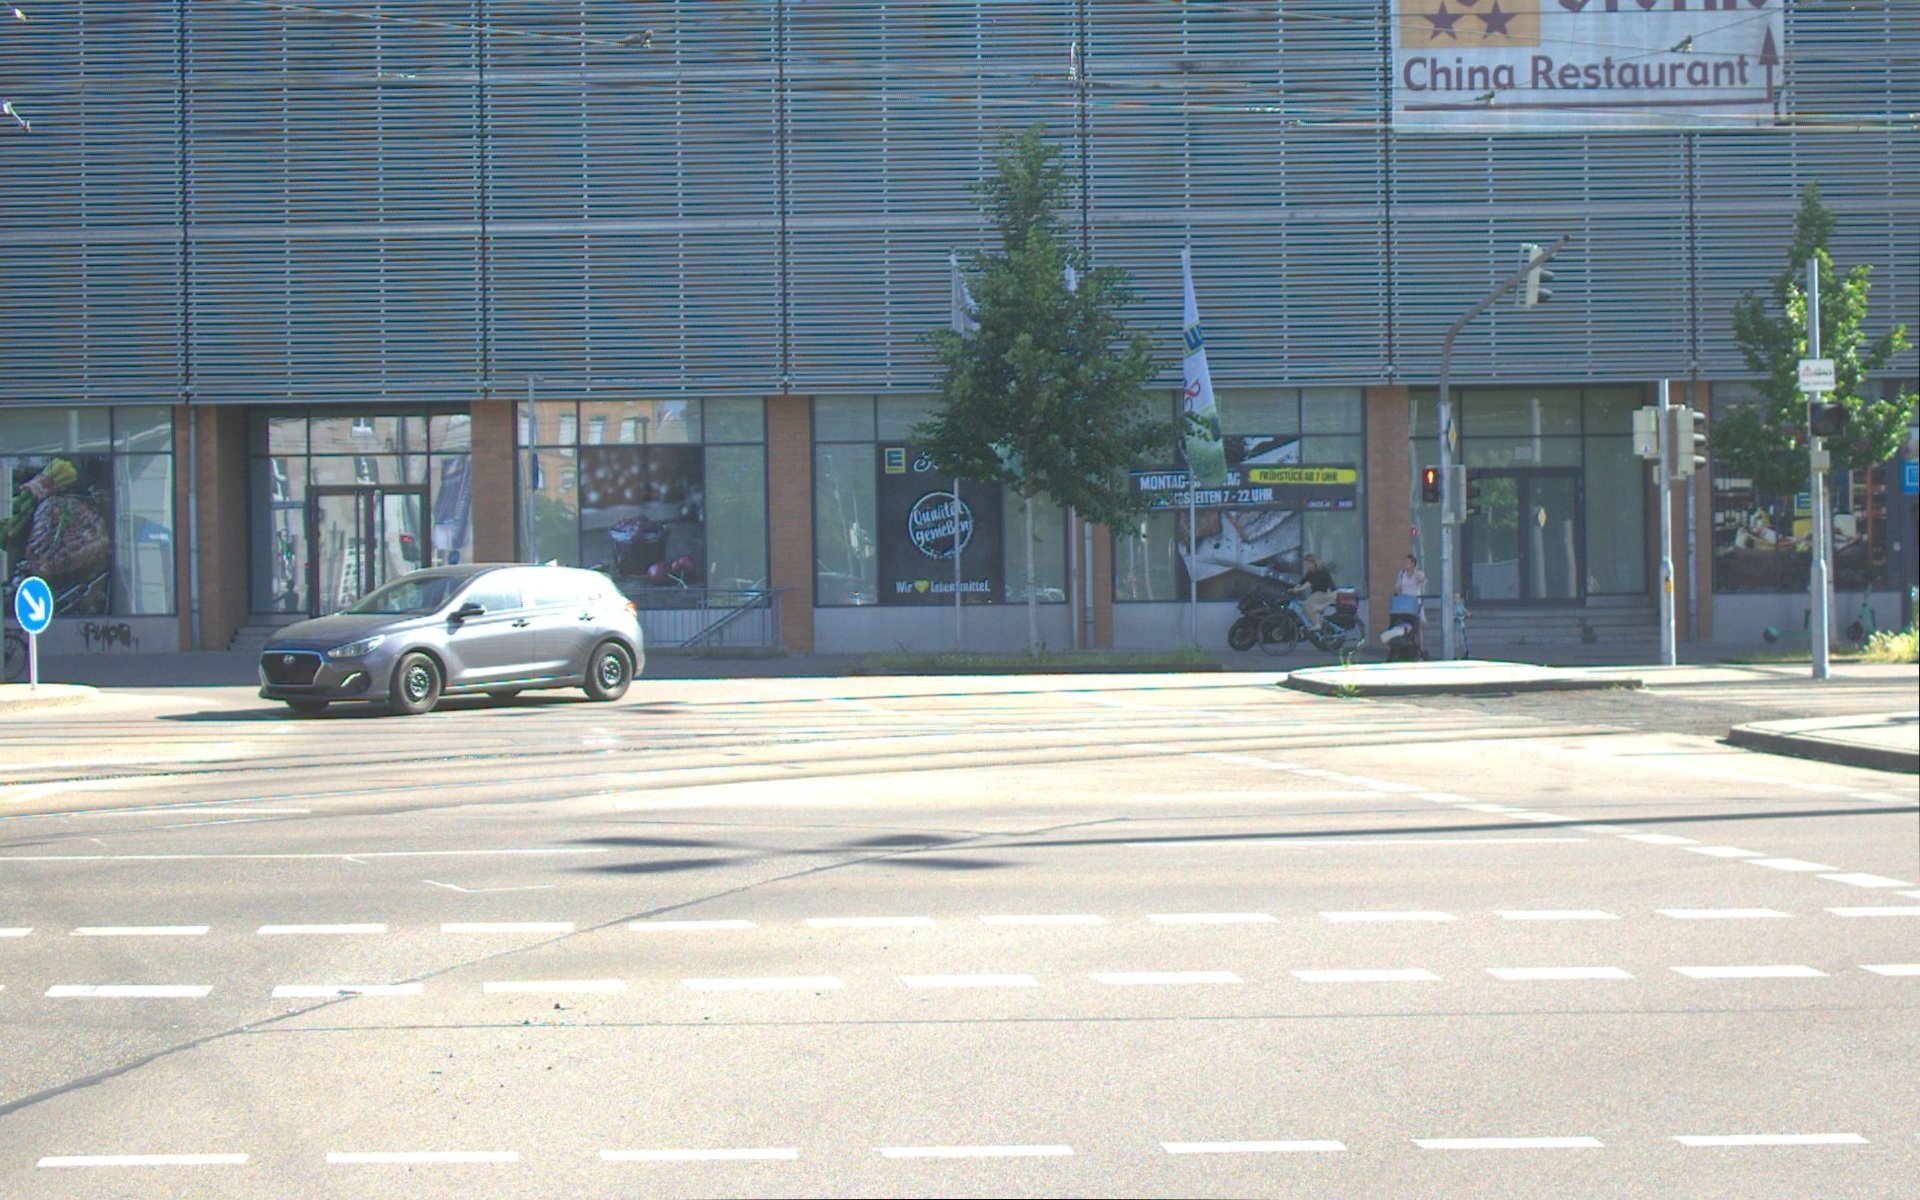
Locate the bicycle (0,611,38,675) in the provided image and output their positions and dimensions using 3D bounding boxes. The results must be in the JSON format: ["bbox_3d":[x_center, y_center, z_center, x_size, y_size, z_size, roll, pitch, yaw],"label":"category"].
[{"bbox_3d":[-15.339,0.673,53.150,2.015,0.982,0.560,-1,0,-33],"label":"bicycle"}]

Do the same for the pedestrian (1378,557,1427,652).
[{"bbox_3d":[6.957,0.071,53.991,0.739,1.482,0.490,0,0,10],"label":"pedestrian"}]

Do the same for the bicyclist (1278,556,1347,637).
[{"bbox_3d":[5.788,-0.054,56.488,1.036,1.314,0.682,-1,0,-1],"label":"bicyclist"}]

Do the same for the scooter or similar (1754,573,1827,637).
[{"bbox_3d":[14.567,0.091,60.290,1.202,1.099,0.277,1,0,2],"label":"scooter or similar"}]

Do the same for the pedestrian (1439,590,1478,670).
[{"bbox_3d":[7.730,0.457,53.287,0.447,1.225,0.397,-1,0,-31],"label":"pedestrian"}]

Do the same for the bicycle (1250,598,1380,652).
[{"bbox_3d":[5.828,0.409,56.497,2.041,0.864,0.682,-1,0,-1],"label":"bicycle"}]

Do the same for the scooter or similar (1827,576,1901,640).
[{"bbox_3d":[15.877,0.137,60.378,1.202,1.099,0.277,1,0,2],"label":"scooter or similar"}]

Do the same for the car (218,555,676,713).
[{"bbox_3d":[-5.179,0.305,35.110,1.998,1.494,4.299,0,1,43],"label":"car"}]

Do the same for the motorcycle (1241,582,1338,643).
[{"bbox_3d":[5.662,0.211,59.083,1.614,1.035,0.402,0,0,1],"label":"motorcycle"}]
